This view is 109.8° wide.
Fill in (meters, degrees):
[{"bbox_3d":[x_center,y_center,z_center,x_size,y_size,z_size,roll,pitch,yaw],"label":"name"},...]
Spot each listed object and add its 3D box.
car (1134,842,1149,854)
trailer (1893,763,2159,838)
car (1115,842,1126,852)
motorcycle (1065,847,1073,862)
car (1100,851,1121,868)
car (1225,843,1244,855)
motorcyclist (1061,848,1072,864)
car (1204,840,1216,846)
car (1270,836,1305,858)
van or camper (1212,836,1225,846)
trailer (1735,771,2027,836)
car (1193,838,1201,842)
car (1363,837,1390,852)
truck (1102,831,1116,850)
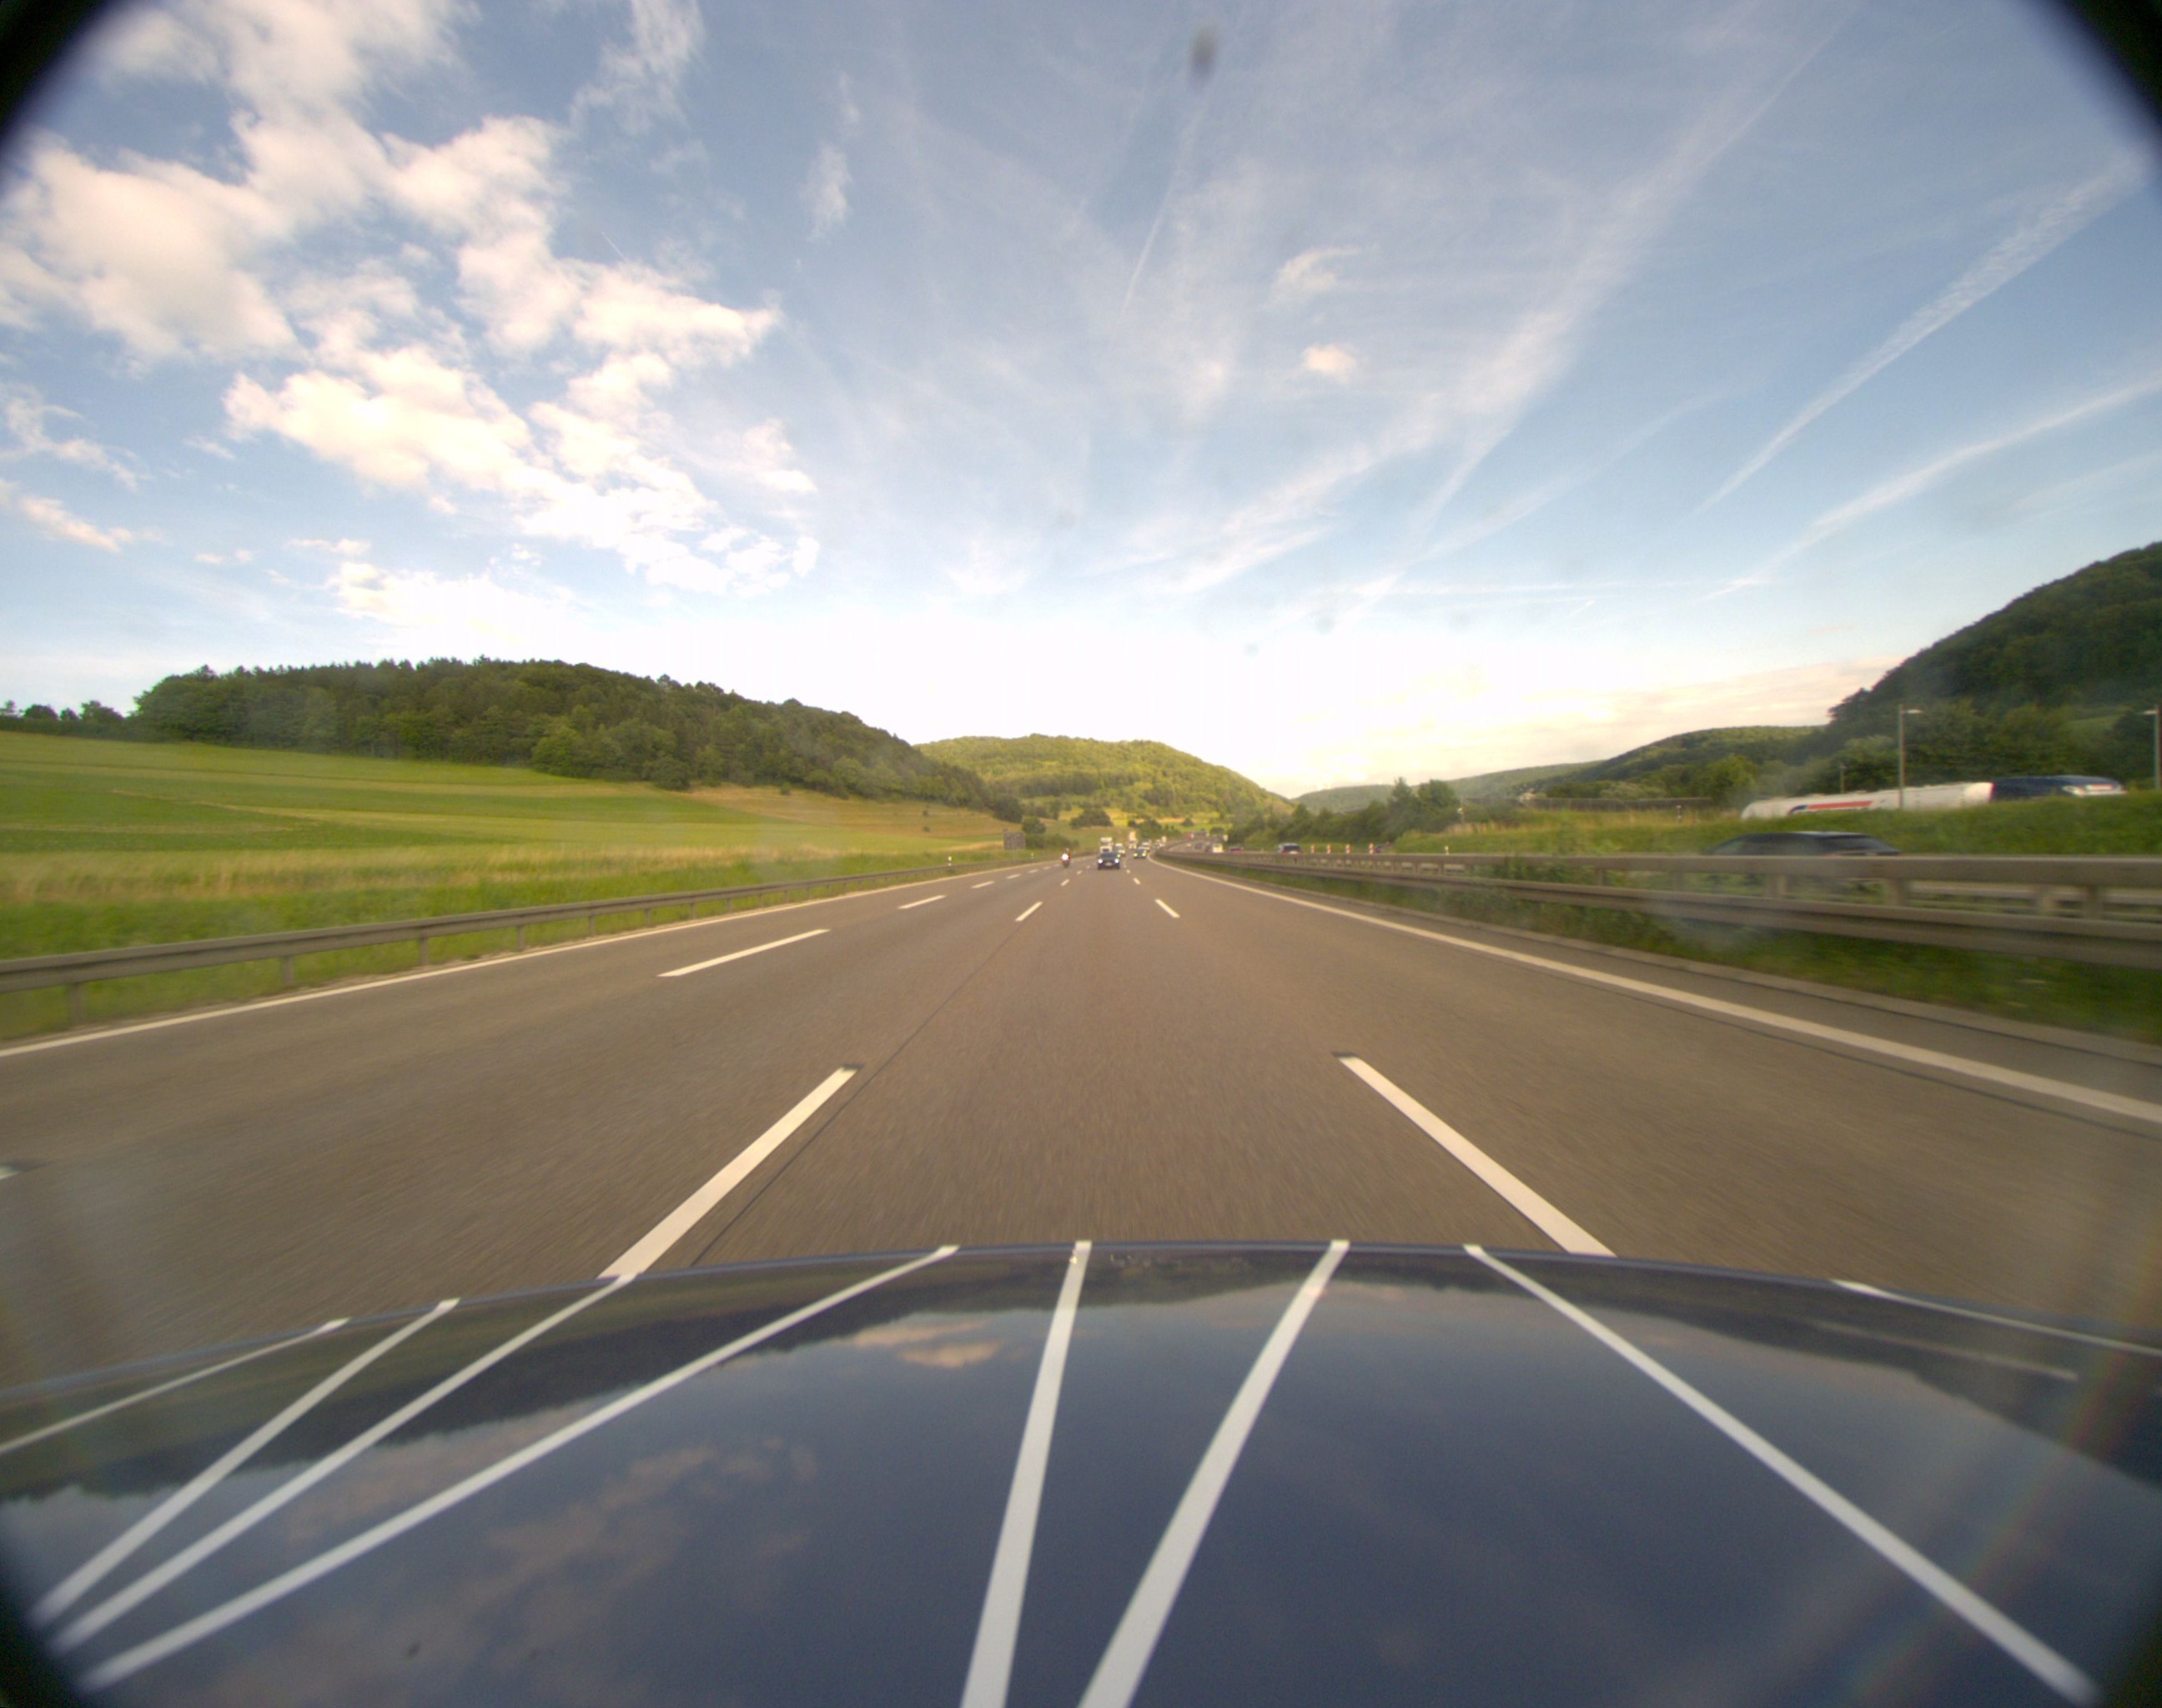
[{"bbox_3d":[9.610,-0.968,120.950,1.997,1.871,4.002,0,2,9],"label":"car"},{"bbox_3d":[40.852,-2.229,33.370,2.618,2.838,7.302,-2,2,1],"label":"trailer"},{"bbox_3d":[7.684,-1.468,147.702,1.998,1.871,4.001,0,2,5],"label":"car"},{"bbox_3d":[-1.155,0.013,72.147,0.628,1.331,1.739,-1,2,4],"label":"motorcycle"},{"bbox_3d":[2.422,0.437,62.138,1.580,1.310,4.000,-2,1,2],"label":"car"},{"bbox_3d":[19.014,-0.653,94.392,1.845,1.521,4.216,0,1,4],"label":"car"},{"bbox_3d":[-1.353,0.185,71.912,0.878,1.506,0.797,-2,3,8],"label":"motorcyclist"},{"bbox_3d":[30.378,-2.562,179.510,1.998,1.488,4.691,-2,1,0],"label":"car"},{"bbox_3d":[17.118,-0.601,63.126,1.811,1.605,4.340,-2,2,2],"label":"car"},{"bbox_3d":[27.181,-2.590,150.768,1.920,1.863,4.755,-1,1,3],"label":"van or camper"},{"bbox_3d":[40.969,-2.475,40.037,2.585,2.838,12.258,-2,2,1],"label":"trailer"},{"bbox_3d":[39.529,-4.721,259.036,1.799,1.488,4.499,-2,1,0],"label":"car"},{"bbox_3d":[32.549,-1.017,83.617,1.994,1.542,4.627,0,1,30],"label":"car"},{"bbox_3d":[6.476,-3.235,173.236,2.971,3.970,17.729,-2,2,3],"label":"truck"}]
